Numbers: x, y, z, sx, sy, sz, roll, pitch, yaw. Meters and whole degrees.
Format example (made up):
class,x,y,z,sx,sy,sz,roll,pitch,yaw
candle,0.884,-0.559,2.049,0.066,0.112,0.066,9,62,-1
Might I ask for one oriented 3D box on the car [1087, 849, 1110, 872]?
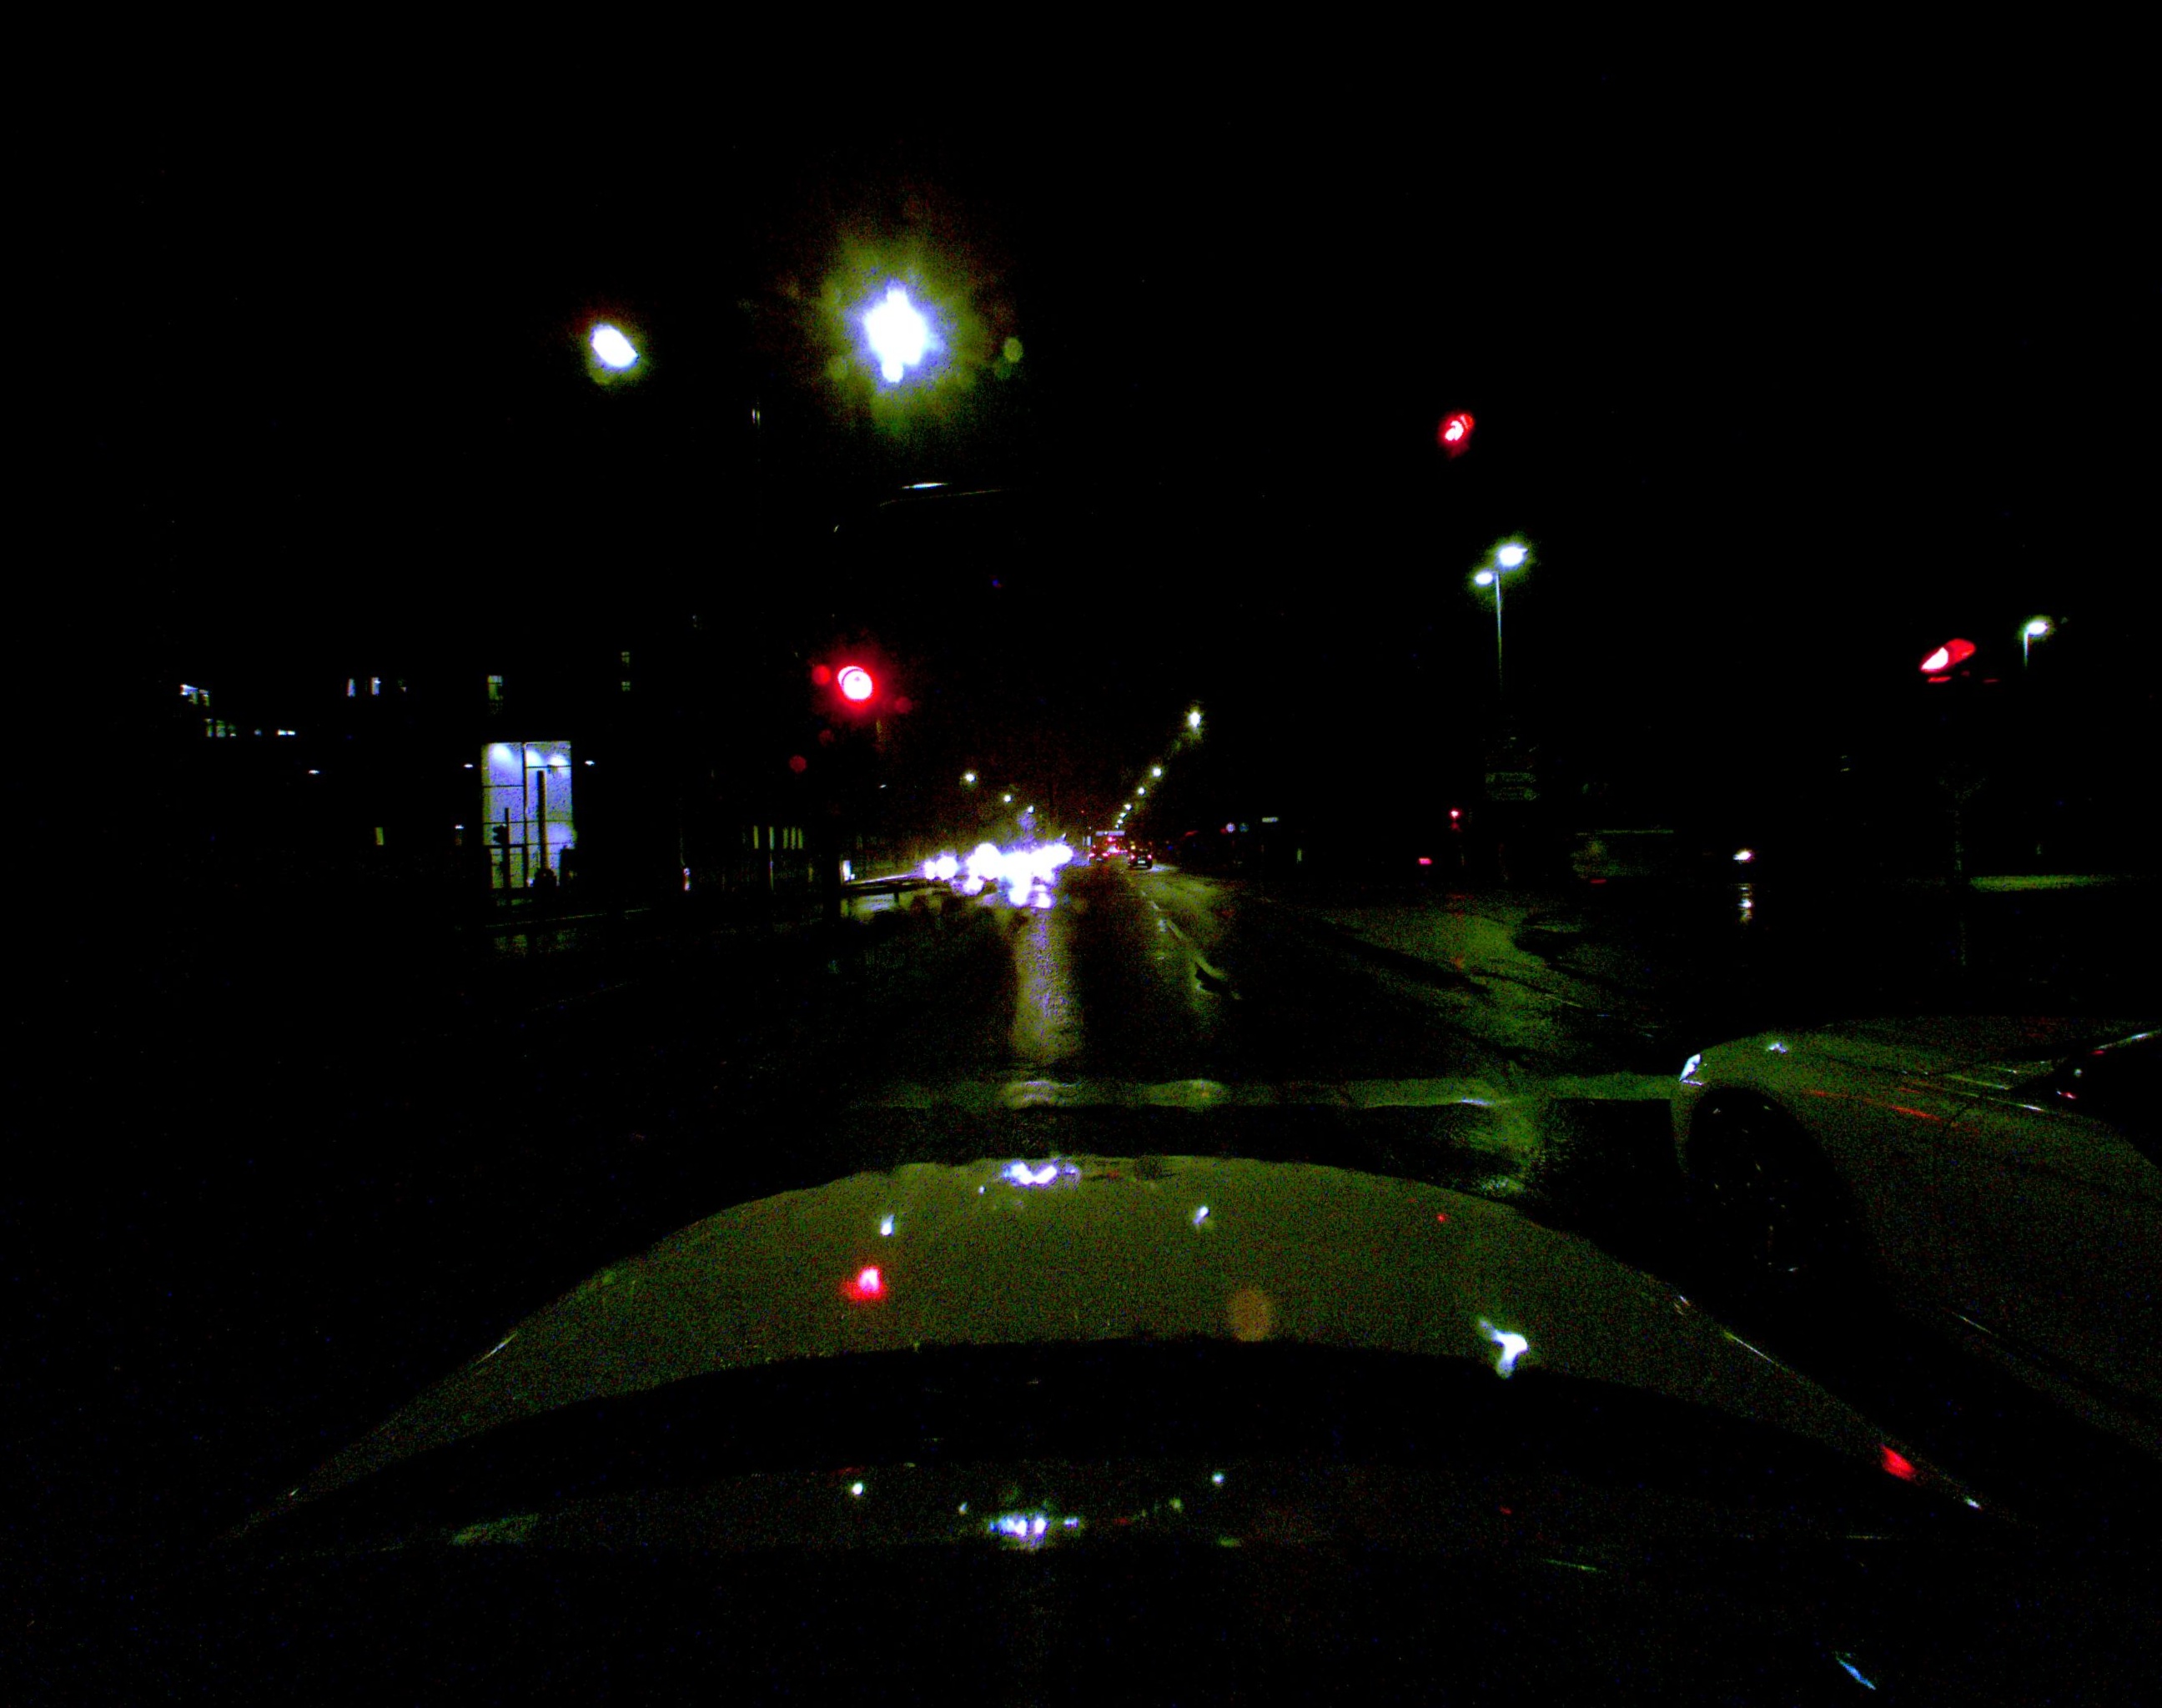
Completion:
class,x,y,z,sx,sy,sz,roll,pitch,yaw
car,1.632,0.625,74.800,1.986,2.014,4.001,-1,-1,2

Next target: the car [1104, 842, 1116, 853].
class,x,y,z,sx,sy,sz,roll,pitch,yaw
car,6.270,-1.412,178.097,2.434,2.194,5.076,-1,-1,-1

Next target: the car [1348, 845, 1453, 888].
class,x,y,z,sx,sy,sz,roll,pitch,yaw
car,14.046,0.550,35.983,3.964,1.780,1.913,-1,-1,8

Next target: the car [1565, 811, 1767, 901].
class,x,y,z,sx,sy,sz,roll,pitch,yaw
car,13.959,0.058,19.609,3.539,2.014,1.706,-1,-1,5

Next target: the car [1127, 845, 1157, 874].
class,x,y,z,sx,sy,sz,roll,pitch,yaw
car,4.759,0.435,64.062,2.200,2.215,3.644,-1,-1,2

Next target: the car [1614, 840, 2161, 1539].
class,x,y,z,sx,sy,sz,roll,pitch,yaw
car,3.132,0.699,1.272,1.714,1.446,4.383,-3,-1,1

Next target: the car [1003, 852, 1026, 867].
class,x,y,z,sx,sy,sz,roll,pitch,yaw
car,-6.912,0.595,85.511,1.878,1.552,4.435,-1,-1,2

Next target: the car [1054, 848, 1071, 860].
class,x,y,z,sx,sy,sz,roll,pitch,yaw
car,-2.384,0.024,105.962,1.878,1.552,4.435,-1,-1,2

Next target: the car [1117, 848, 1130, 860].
class,x,y,z,sx,sy,sz,roll,pitch,yaw
car,7.363,0.007,140.610,2.029,2.014,4.311,-1,-1,4

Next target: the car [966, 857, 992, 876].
class,x,y,z,sx,sy,sz,roll,pitch,yaw
car,-9.646,1.150,77.577,1.743,1.709,4.500,-3,-1,1

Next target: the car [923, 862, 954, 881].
class,x,y,z,sx,sy,sz,roll,pitch,yaw
car,-12.239,1.473,70.243,1.794,1.564,4.001,-1,-1,2

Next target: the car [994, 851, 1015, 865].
class,x,y,z,sx,sy,sz,roll,pitch,yaw
car,-9.168,0.514,97.666,1.878,1.552,4.435,-1,-1,2

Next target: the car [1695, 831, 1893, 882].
class,x,y,z,sx,sy,sz,roll,pitch,yaw
car,24.143,0.090,27.758,4.823,1.590,1.857,-1,-1,8

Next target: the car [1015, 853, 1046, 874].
class,x,y,z,sx,sy,sz,roll,pitch,yaw
car,-3.993,0.738,65.042,1.986,1.610,4.971,-1,-1,1
